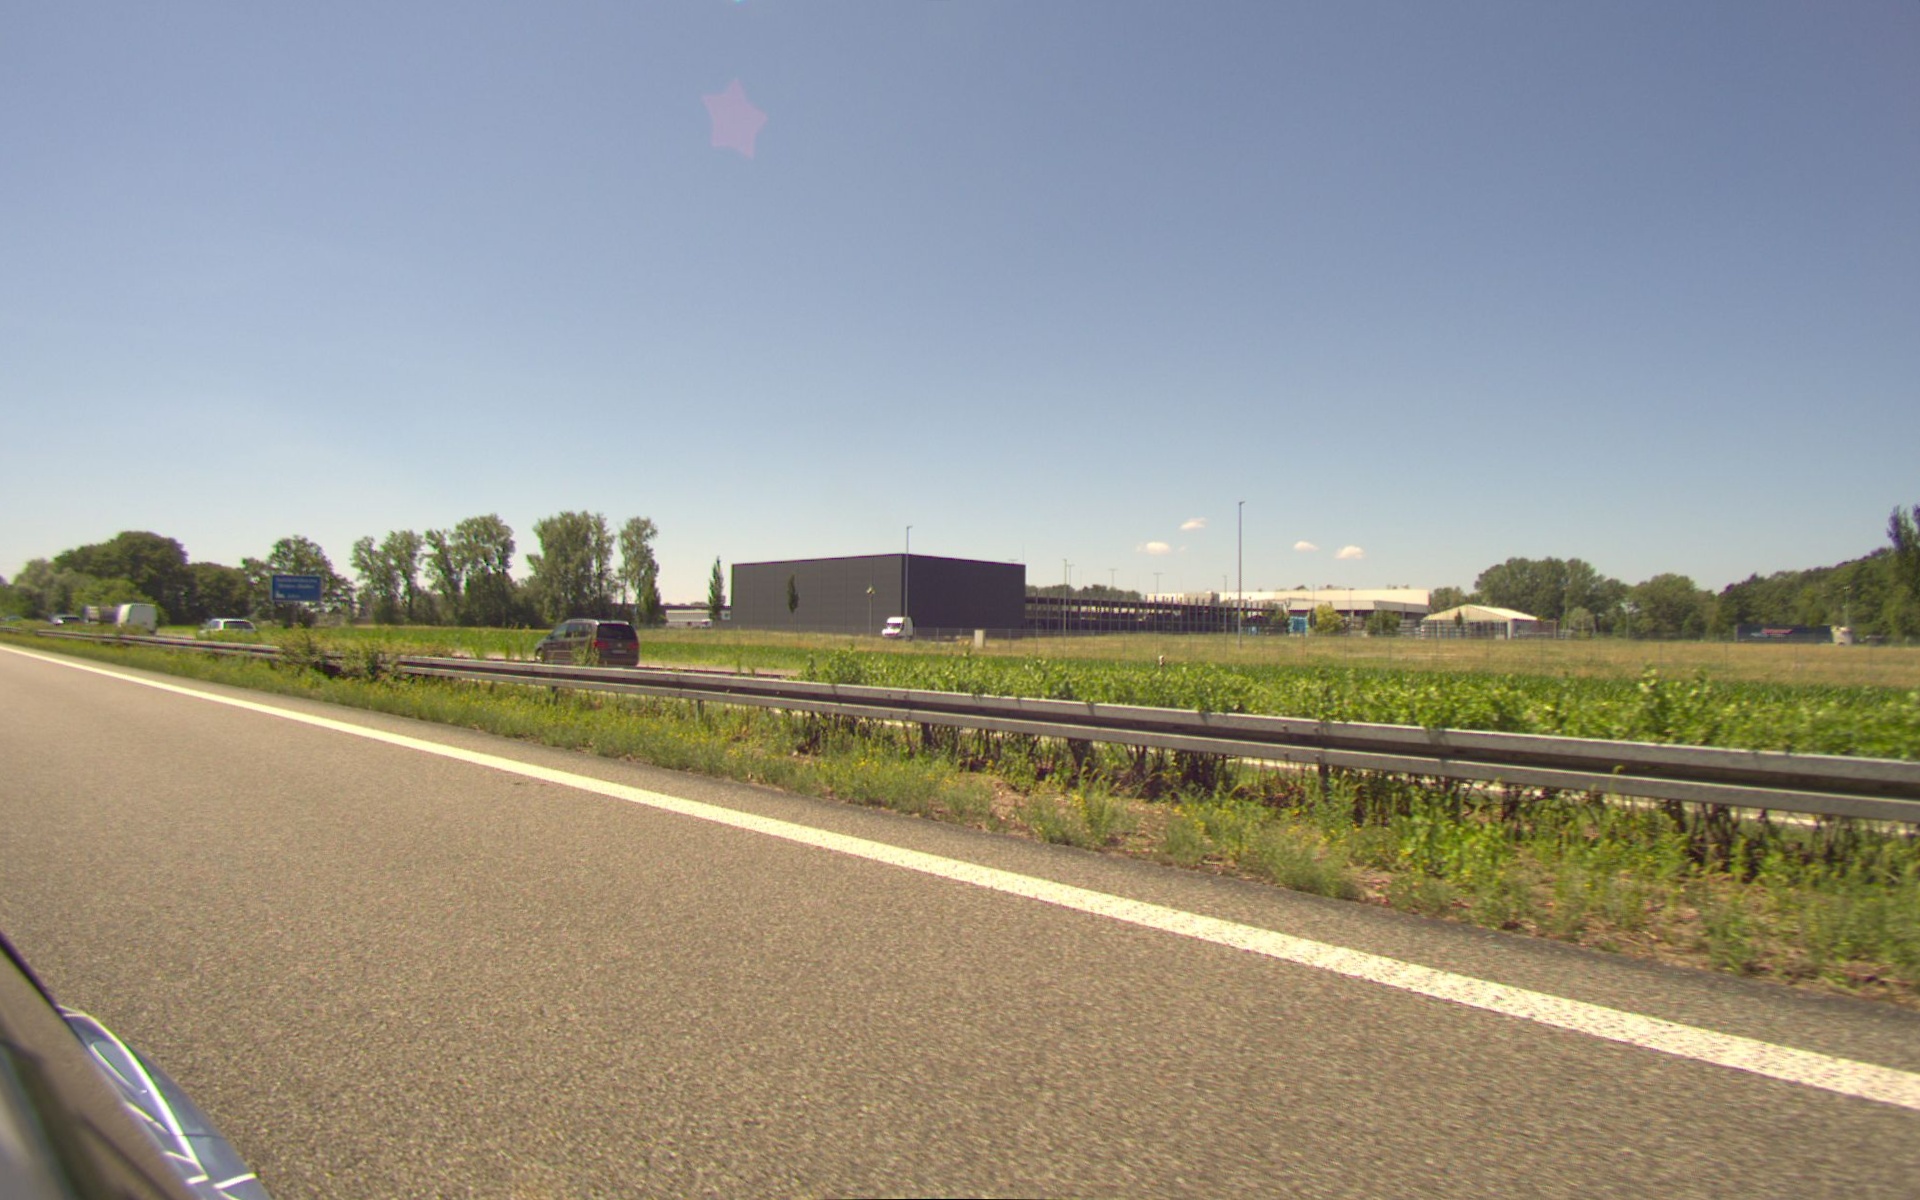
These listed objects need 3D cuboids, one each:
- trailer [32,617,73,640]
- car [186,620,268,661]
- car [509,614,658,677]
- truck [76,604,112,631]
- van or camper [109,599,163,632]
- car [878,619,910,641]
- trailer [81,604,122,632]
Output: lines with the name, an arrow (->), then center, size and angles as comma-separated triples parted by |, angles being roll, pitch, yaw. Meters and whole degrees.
trailer -> -73.863, 2.313, 82.345 | 4.856, 1.772, 1.972 | -1, -3, 42
car -> -34.184, 1.846, 47.137 | 5.417, 1.820, 2.023 | -1, -3, 42
car -> -12.075, 1.406, 32.303 | 5.351, 1.829, 2.291 | -1, -3, 43
truck -> -107.863, 2.129, 125.967 | 5.837, 3.275, 2.668 | -1, -2, 43
van or camper -> -68.052, 1.309, 83.525 | 6.174, 2.553, 2.396 | 0, -3, 42
car -> -6.764, 3.074, 104.821 | 2.086, 2.194, 5.591 | 0, -2, 10
trailer -> -103.359, 2.095, 121.830 | 9.258, 3.262, 2.646 | -1, -1, 43
